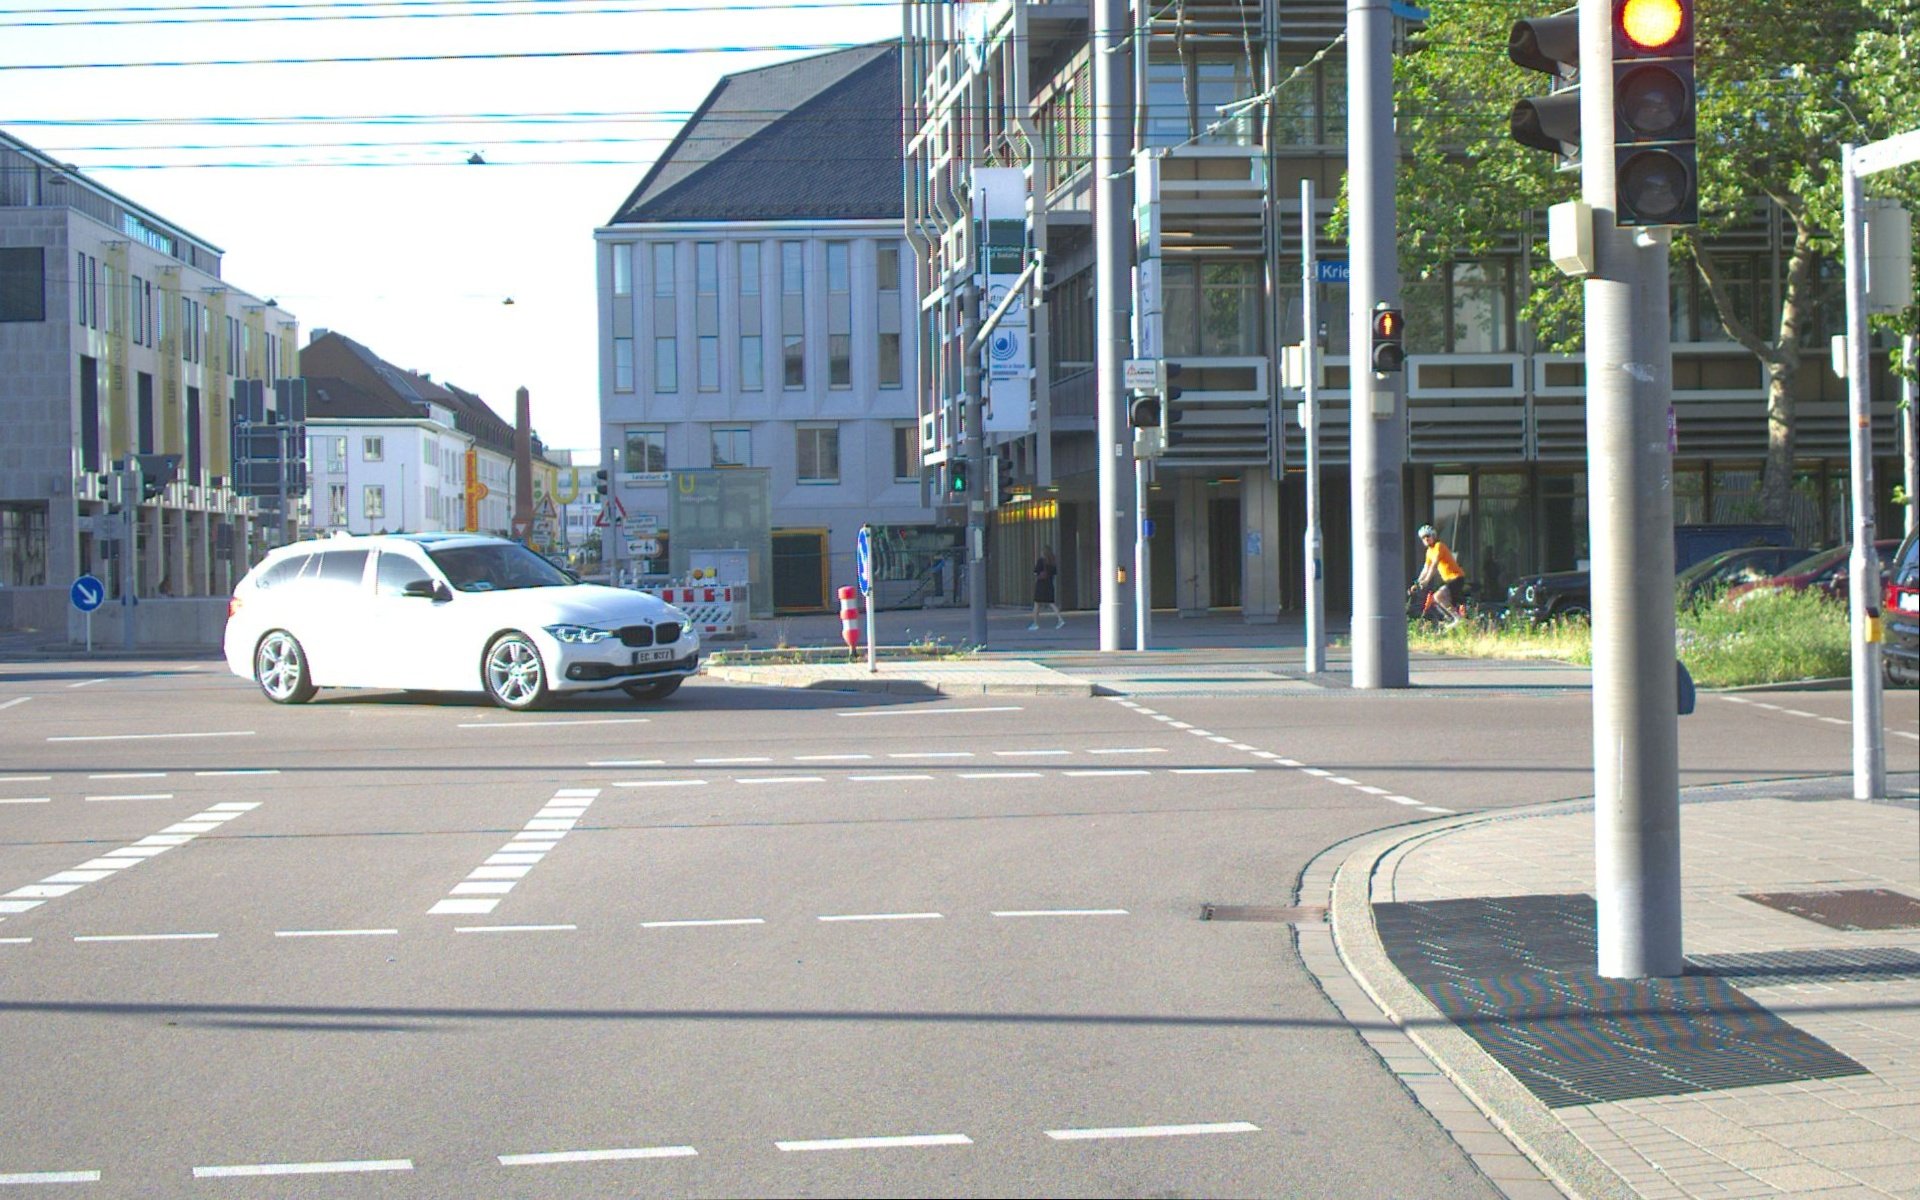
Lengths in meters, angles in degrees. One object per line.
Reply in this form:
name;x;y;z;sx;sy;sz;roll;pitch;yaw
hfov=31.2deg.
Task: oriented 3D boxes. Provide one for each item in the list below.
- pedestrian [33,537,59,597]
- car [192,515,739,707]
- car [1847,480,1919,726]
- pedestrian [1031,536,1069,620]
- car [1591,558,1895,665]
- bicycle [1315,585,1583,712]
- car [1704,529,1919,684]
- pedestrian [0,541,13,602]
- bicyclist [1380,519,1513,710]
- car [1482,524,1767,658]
pedestrian;-30.803;-1.100;115.882;0.626;2.007;0.733;-1;1;2
car;-4.311;0.065;29.574;4.697;1.522;1.996;0;1;39
car;9.229;-0.039;26.036;4.472;1.752;2.001;-1;3;-2
pedestrian;1.766;-0.439;67.797;0.663;1.652;0.755;-1;1;-3
car;11.500;0.157;50.662;3.986;1.503;1.868;0;1;-3
bicycle;6.700;0.648;47.148;3.490;1.653;0.932;-1;1;-9
car;12.294;0.087;46.410;3.986;2.007;2.000;1;0;-3
pedestrian;-31.849;-0.938;113.961;0.626;2.007;0.733;-1;1;2
bicyclist;6.668;0.189;47.141;1.567;2.571;0.932;-1;1;-9
car;10.351;-0.144;53.779;3.986;2.007;2.000;1;0;-3
